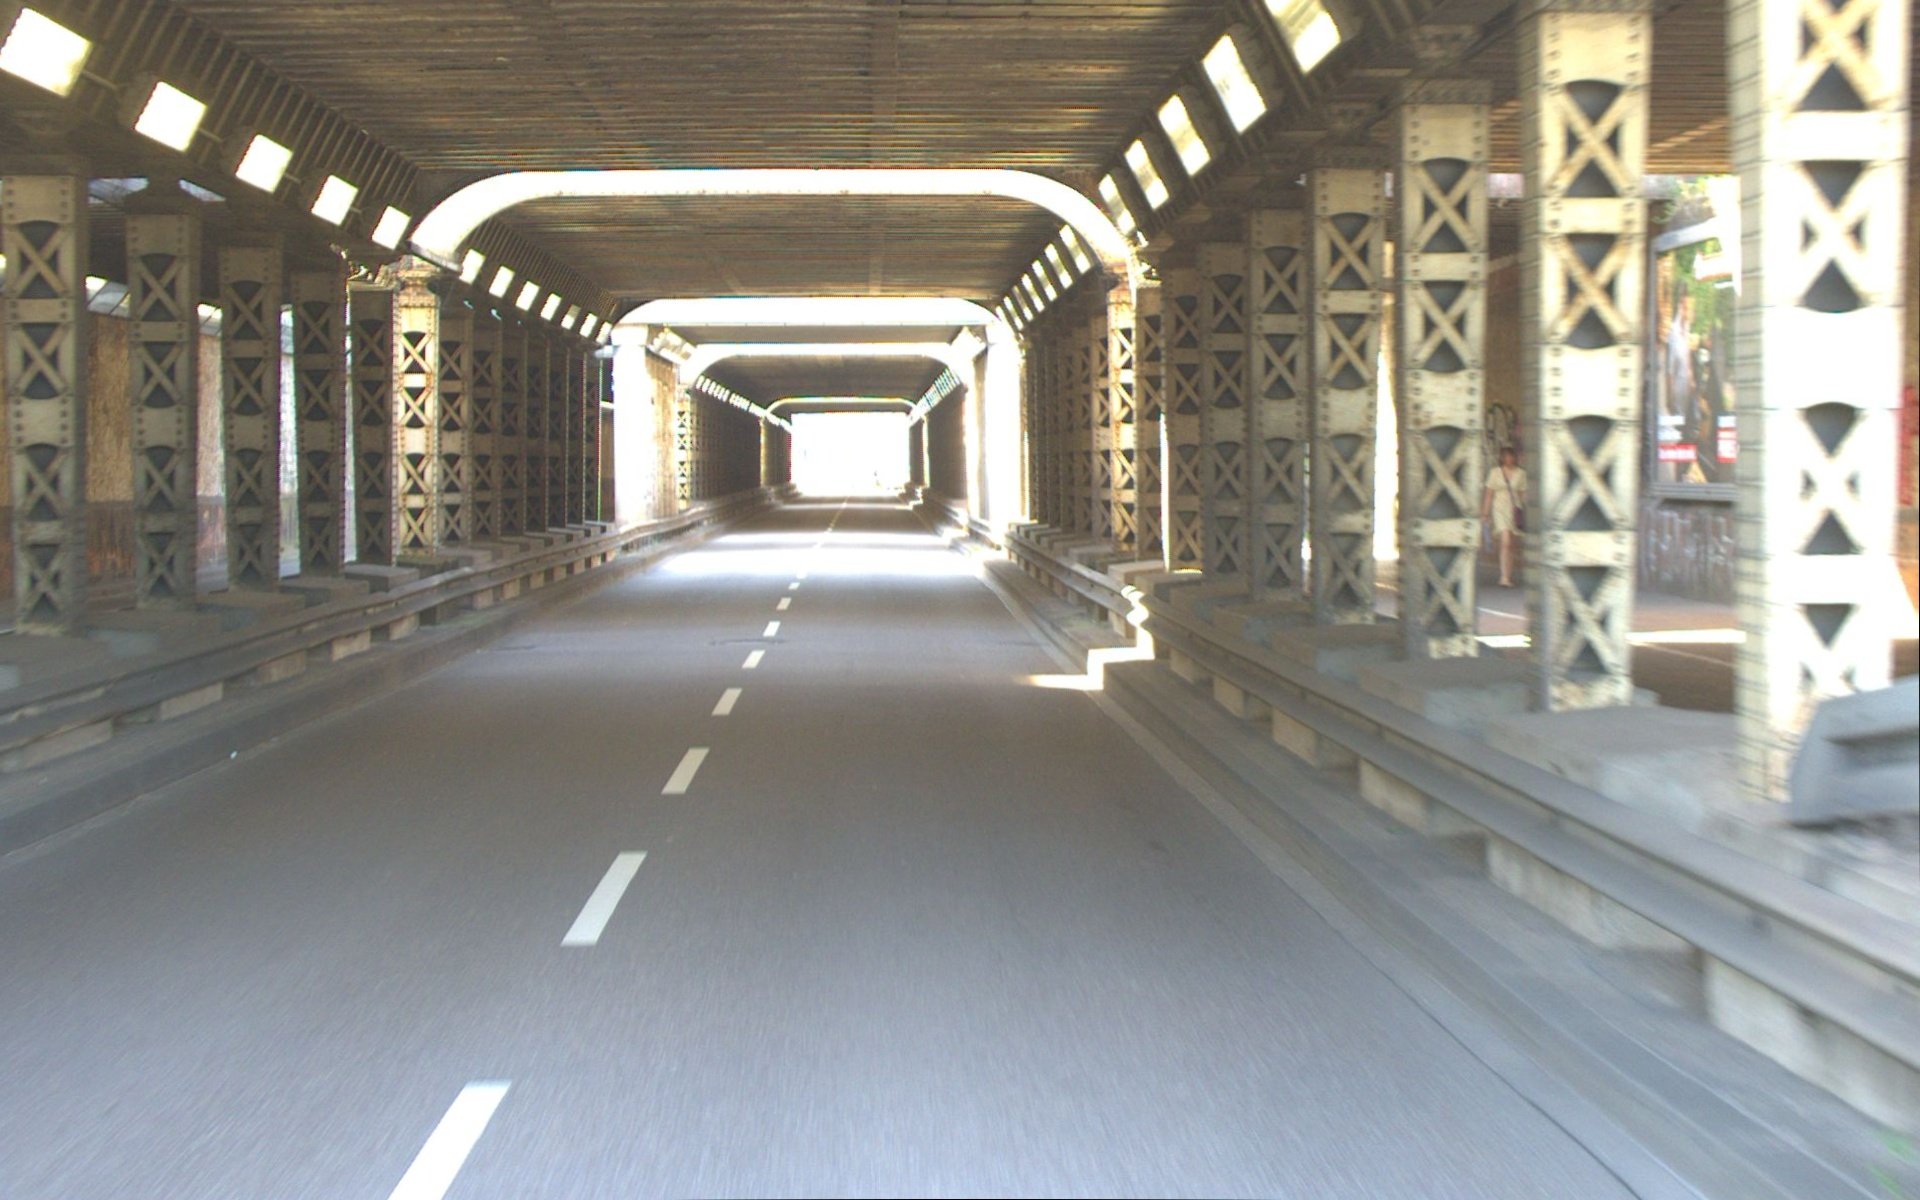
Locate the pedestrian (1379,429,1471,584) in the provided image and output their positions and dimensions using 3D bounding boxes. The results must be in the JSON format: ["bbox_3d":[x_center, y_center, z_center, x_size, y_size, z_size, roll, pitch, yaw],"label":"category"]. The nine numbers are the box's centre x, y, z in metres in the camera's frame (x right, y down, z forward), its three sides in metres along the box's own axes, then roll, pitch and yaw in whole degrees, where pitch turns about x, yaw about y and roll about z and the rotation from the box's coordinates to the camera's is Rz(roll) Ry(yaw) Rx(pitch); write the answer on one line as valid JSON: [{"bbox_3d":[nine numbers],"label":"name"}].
[{"bbox_3d":[5.657,-1.149,41.877,0.880,1.829,0.923,-2,2,-4],"label":"pedestrian"}]

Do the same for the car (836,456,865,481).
[{"bbox_3d":[-7.834,-9.432,246.095,1.993,1.777,4.001,0,2,-1],"label":"car"}]

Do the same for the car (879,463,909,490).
[{"bbox_3d":[-4.424,-8.268,230.288,1.993,1.777,4.001,0,2,-1],"label":"car"}]

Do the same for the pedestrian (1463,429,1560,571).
[{"bbox_3d":[6.612,-1.205,41.267,0.916,1.650,0.886,-2,2,-4],"label":"pedestrian"}]

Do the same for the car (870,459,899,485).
[{"bbox_3d":[-5.236,-8.893,239.397,1.993,1.777,4.001,0,2,-1],"label":"car"}]
